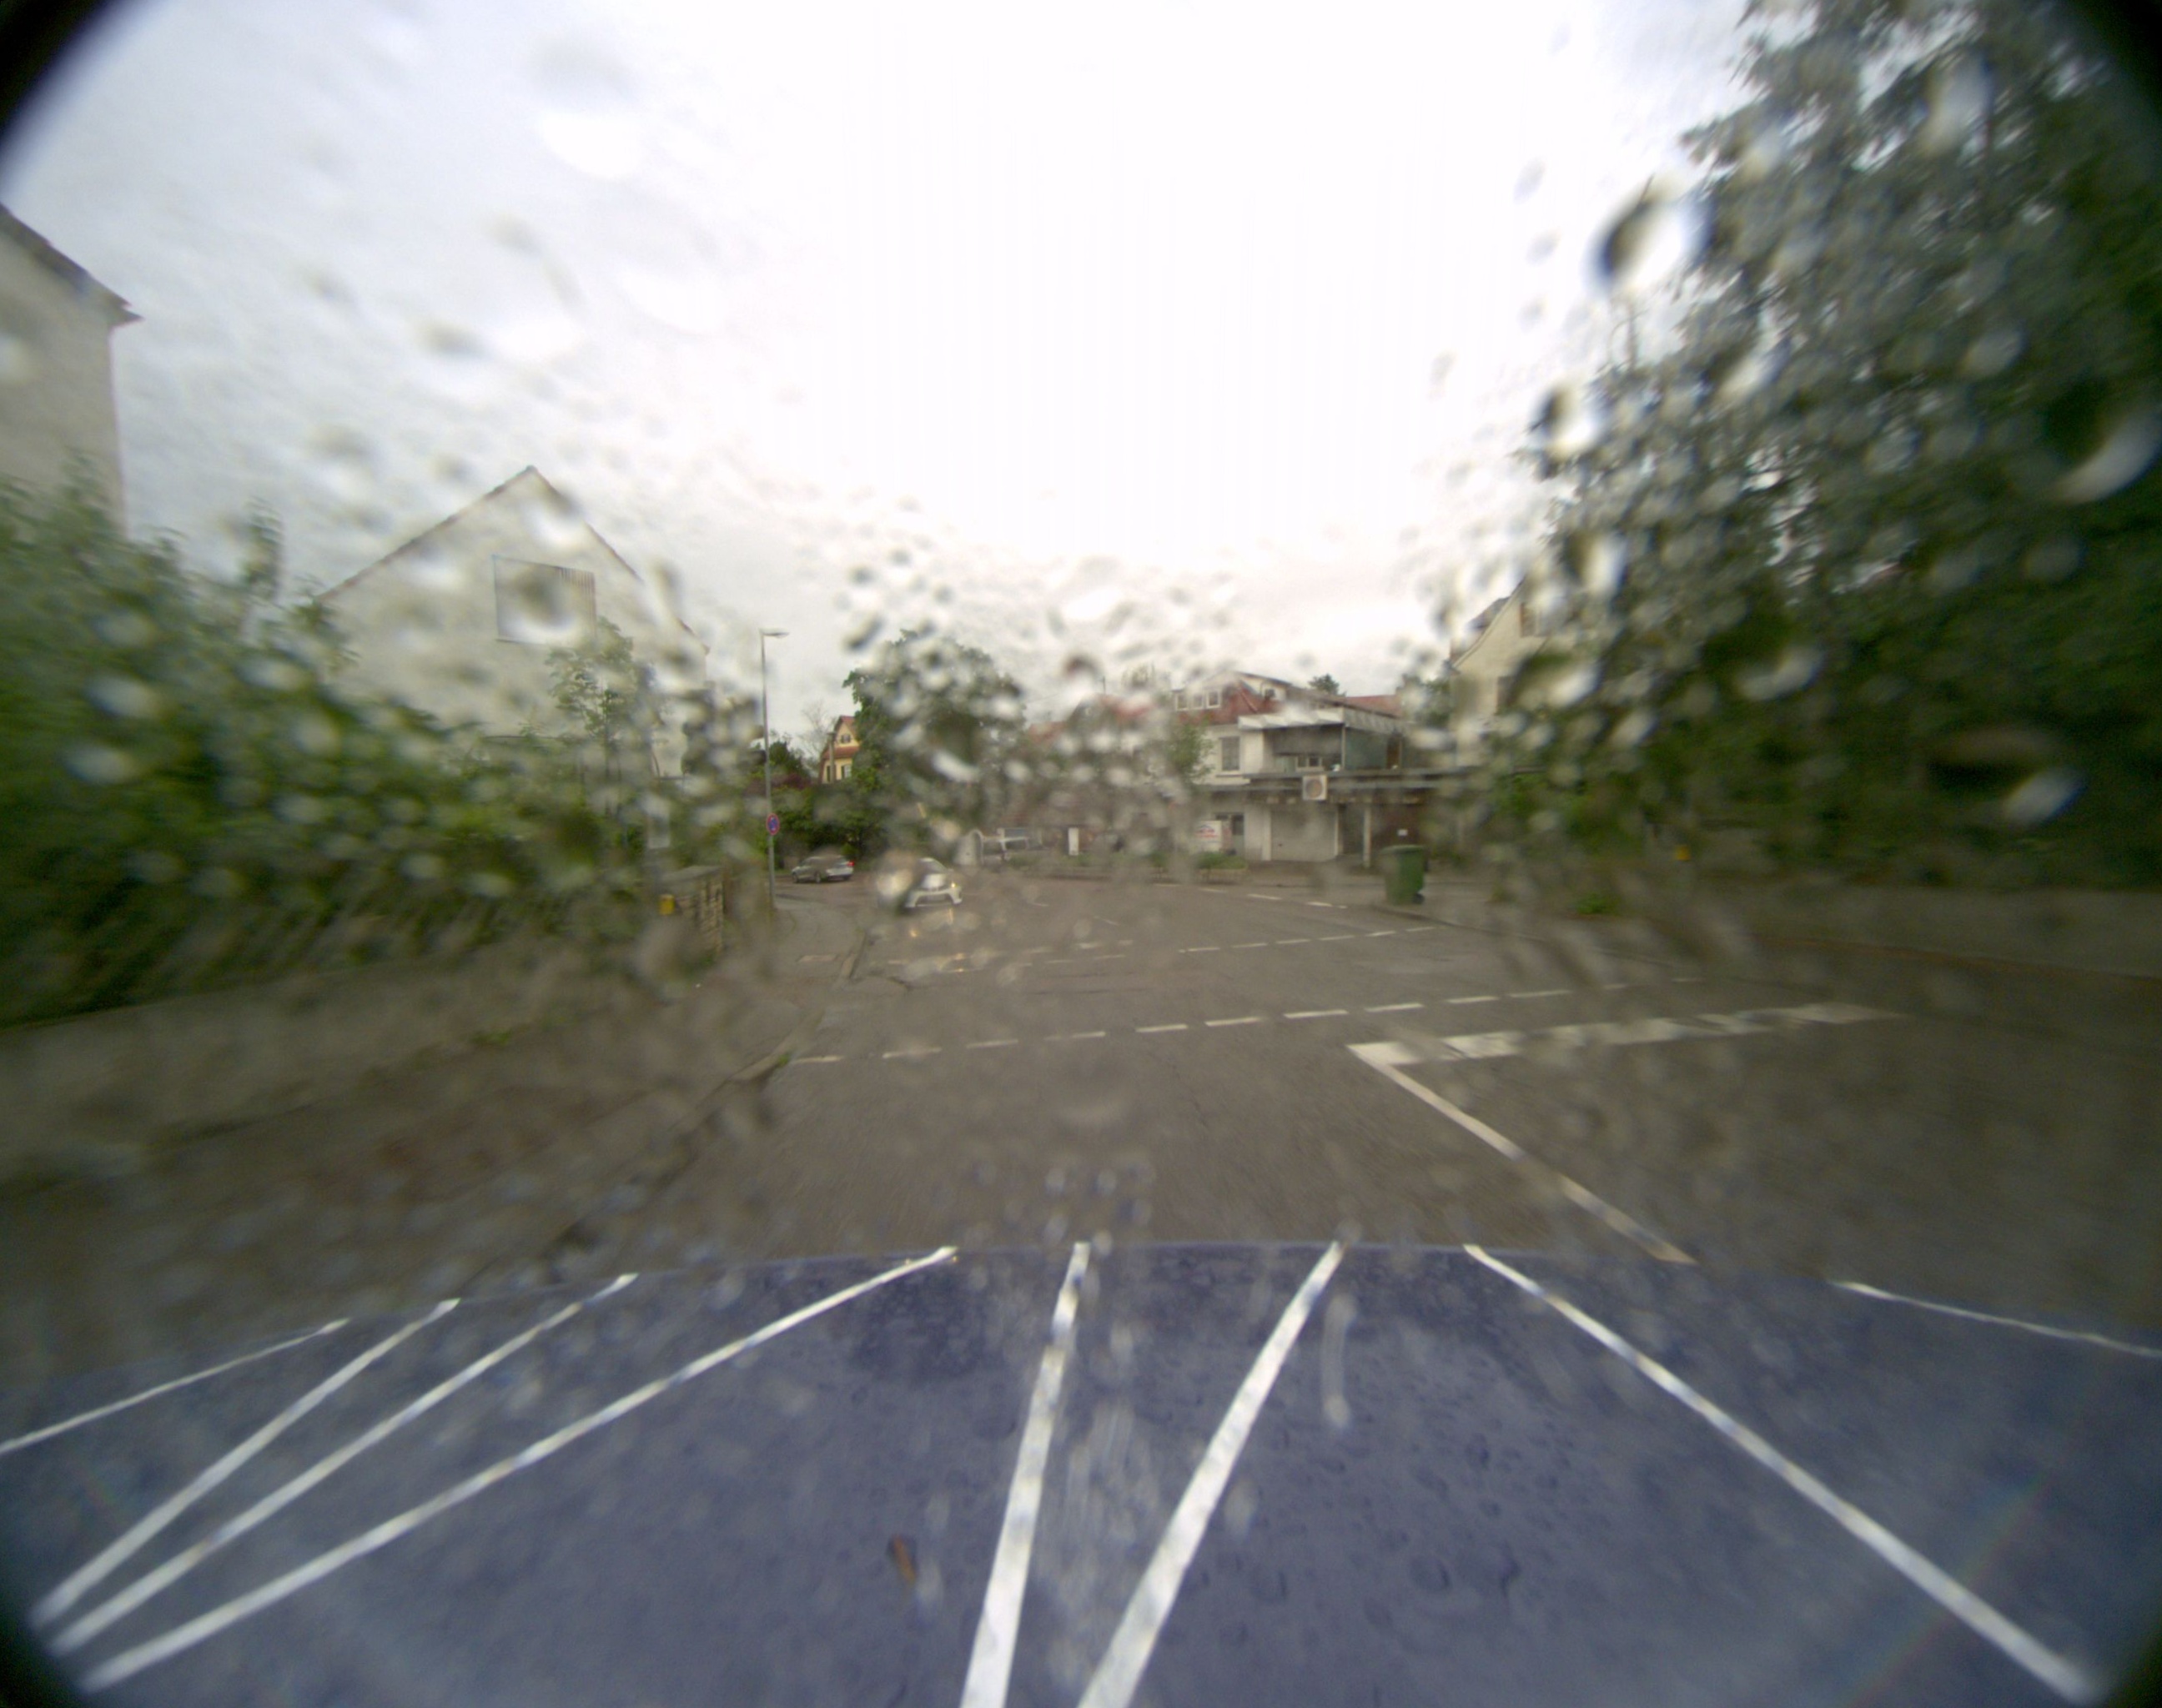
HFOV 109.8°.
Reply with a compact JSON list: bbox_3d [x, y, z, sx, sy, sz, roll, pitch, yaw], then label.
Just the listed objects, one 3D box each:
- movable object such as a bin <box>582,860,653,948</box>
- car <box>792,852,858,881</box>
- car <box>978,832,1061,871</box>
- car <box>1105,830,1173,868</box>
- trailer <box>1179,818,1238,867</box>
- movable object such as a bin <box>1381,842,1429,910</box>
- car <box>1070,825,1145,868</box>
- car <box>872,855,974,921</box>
[{"bbox_3d":[-7.036,0.738,11.549,0.609,1.239,0.602,1,6,13],"label":"movable object such as a bin"},{"bbox_3d":[-14.092,0.713,41.664,1.603,1.405,4.225,-7,3,-45],"label":"car"},{"bbox_3d":[-3.318,-0.170,41.593,1.994,1.790,4.126,-1,4,43],"label":"car"},{"bbox_3d":[2.808,-0.270,36.064,1.835,1.477,3.350,-2,3,30],"label":"car"},{"bbox_3d":[5.893,-0.580,34.756,1.949,2.091,3.965,-2,2,19],"label":"trailer"},{"bbox_3d":[5.855,0.391,13.748,0.625,1.133,0.668,-3,3,12],"label":"movable object such as a bin"},{"bbox_3d":[1.386,-0.391,37.977,1.794,1.765,4.095,-2,4,32],"label":"car"},{"bbox_3d":[-4.628,0.876,21.775,1.862,1.428,4.007,-6,4,-25],"label":"car"}]
